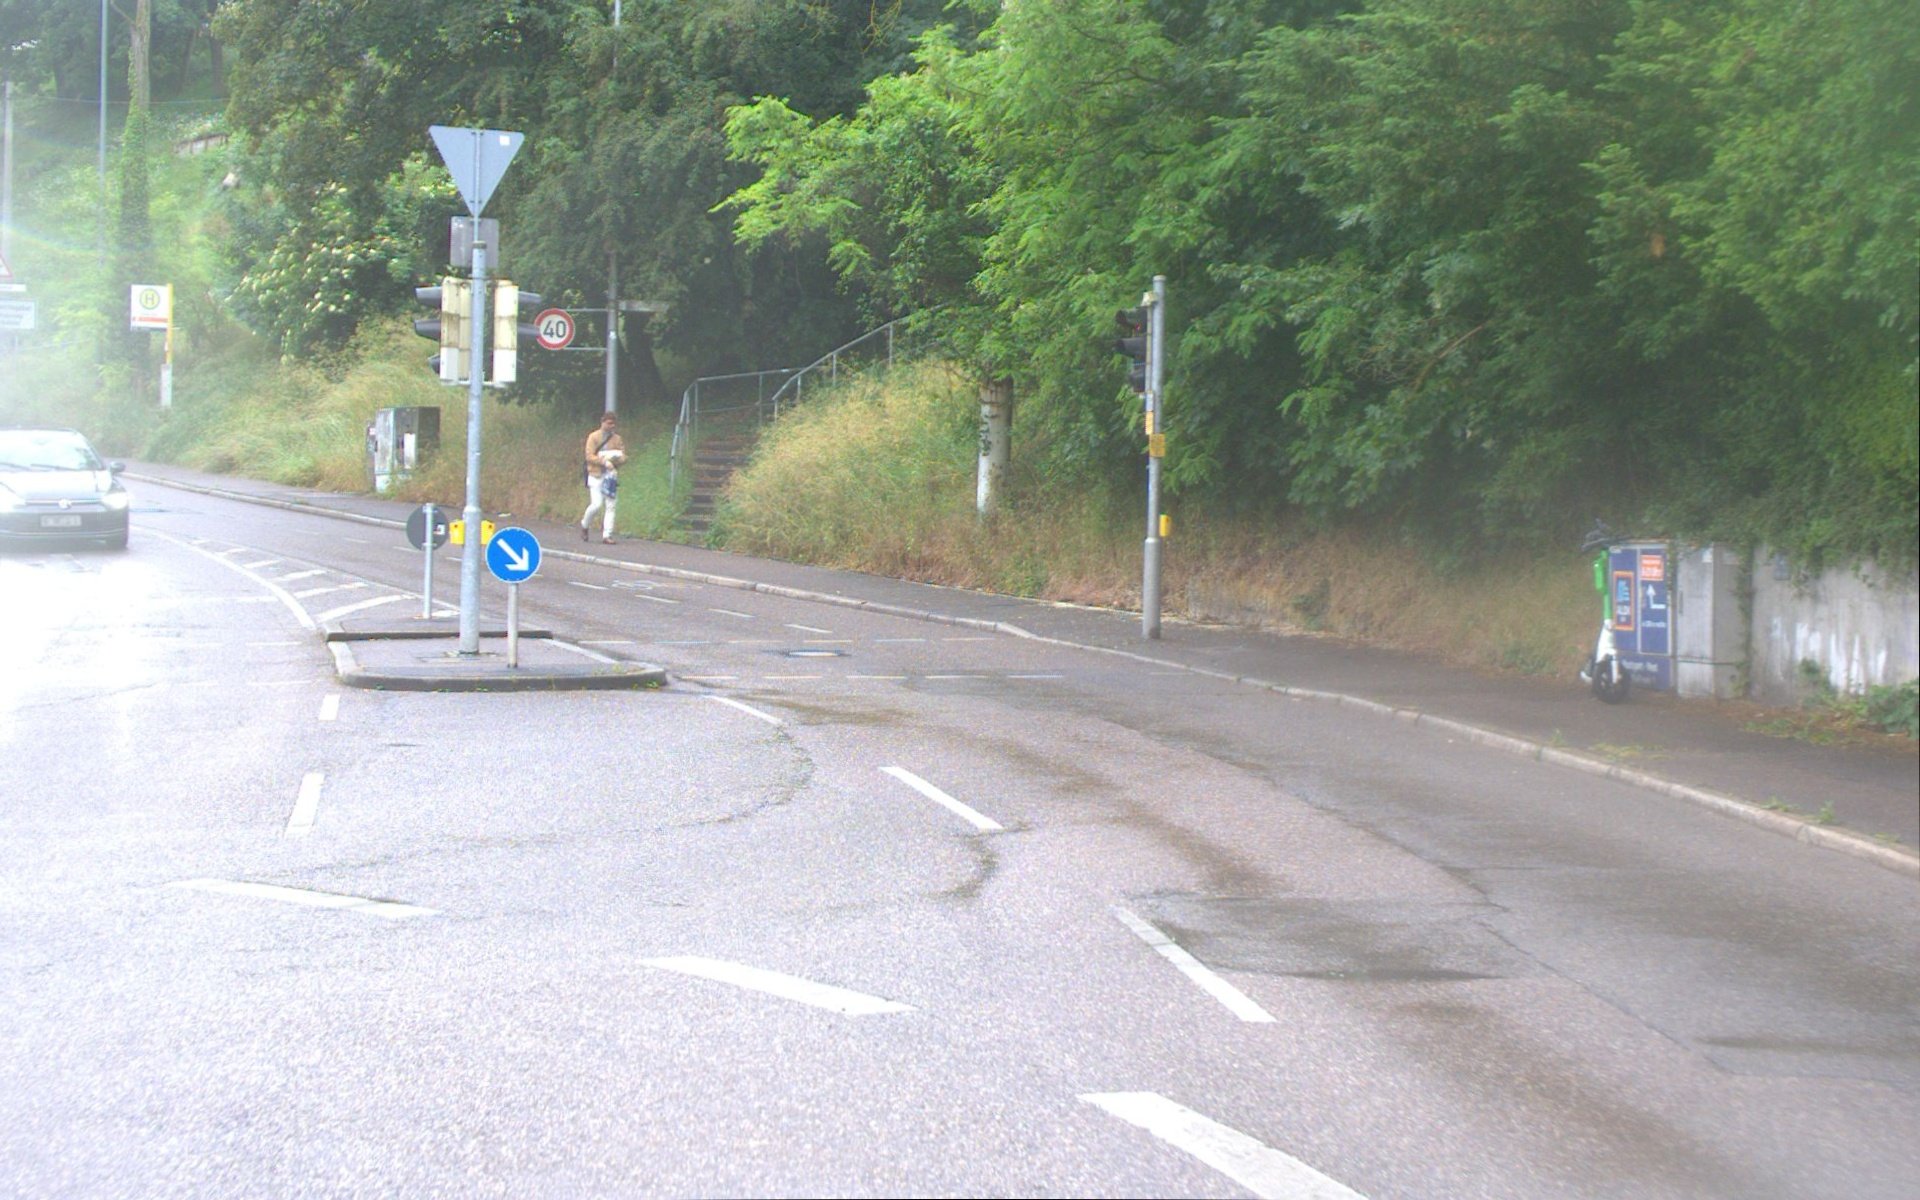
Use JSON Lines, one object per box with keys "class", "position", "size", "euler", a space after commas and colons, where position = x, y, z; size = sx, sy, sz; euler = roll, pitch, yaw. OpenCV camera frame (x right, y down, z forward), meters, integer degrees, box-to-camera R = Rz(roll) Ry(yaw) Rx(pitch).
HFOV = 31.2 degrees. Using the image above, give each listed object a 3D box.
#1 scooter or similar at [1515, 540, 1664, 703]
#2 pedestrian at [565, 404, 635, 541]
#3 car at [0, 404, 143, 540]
{"class": "scooter or similar", "position": [4.450, 0.133, 24.416], "size": [0.602, 1.071, 1.769], "euler": [1, 2, -4]}
{"class": "pedestrian", "position": [-4.750, -1.685, 45.364], "size": [0.647, 1.746, 0.799], "euler": [1, 4, -24]}
{"class": "car", "position": [-11.690, -1.690, 44.091], "size": [1.882, 1.516, 4.695], "euler": [-1, 5, -19]}
